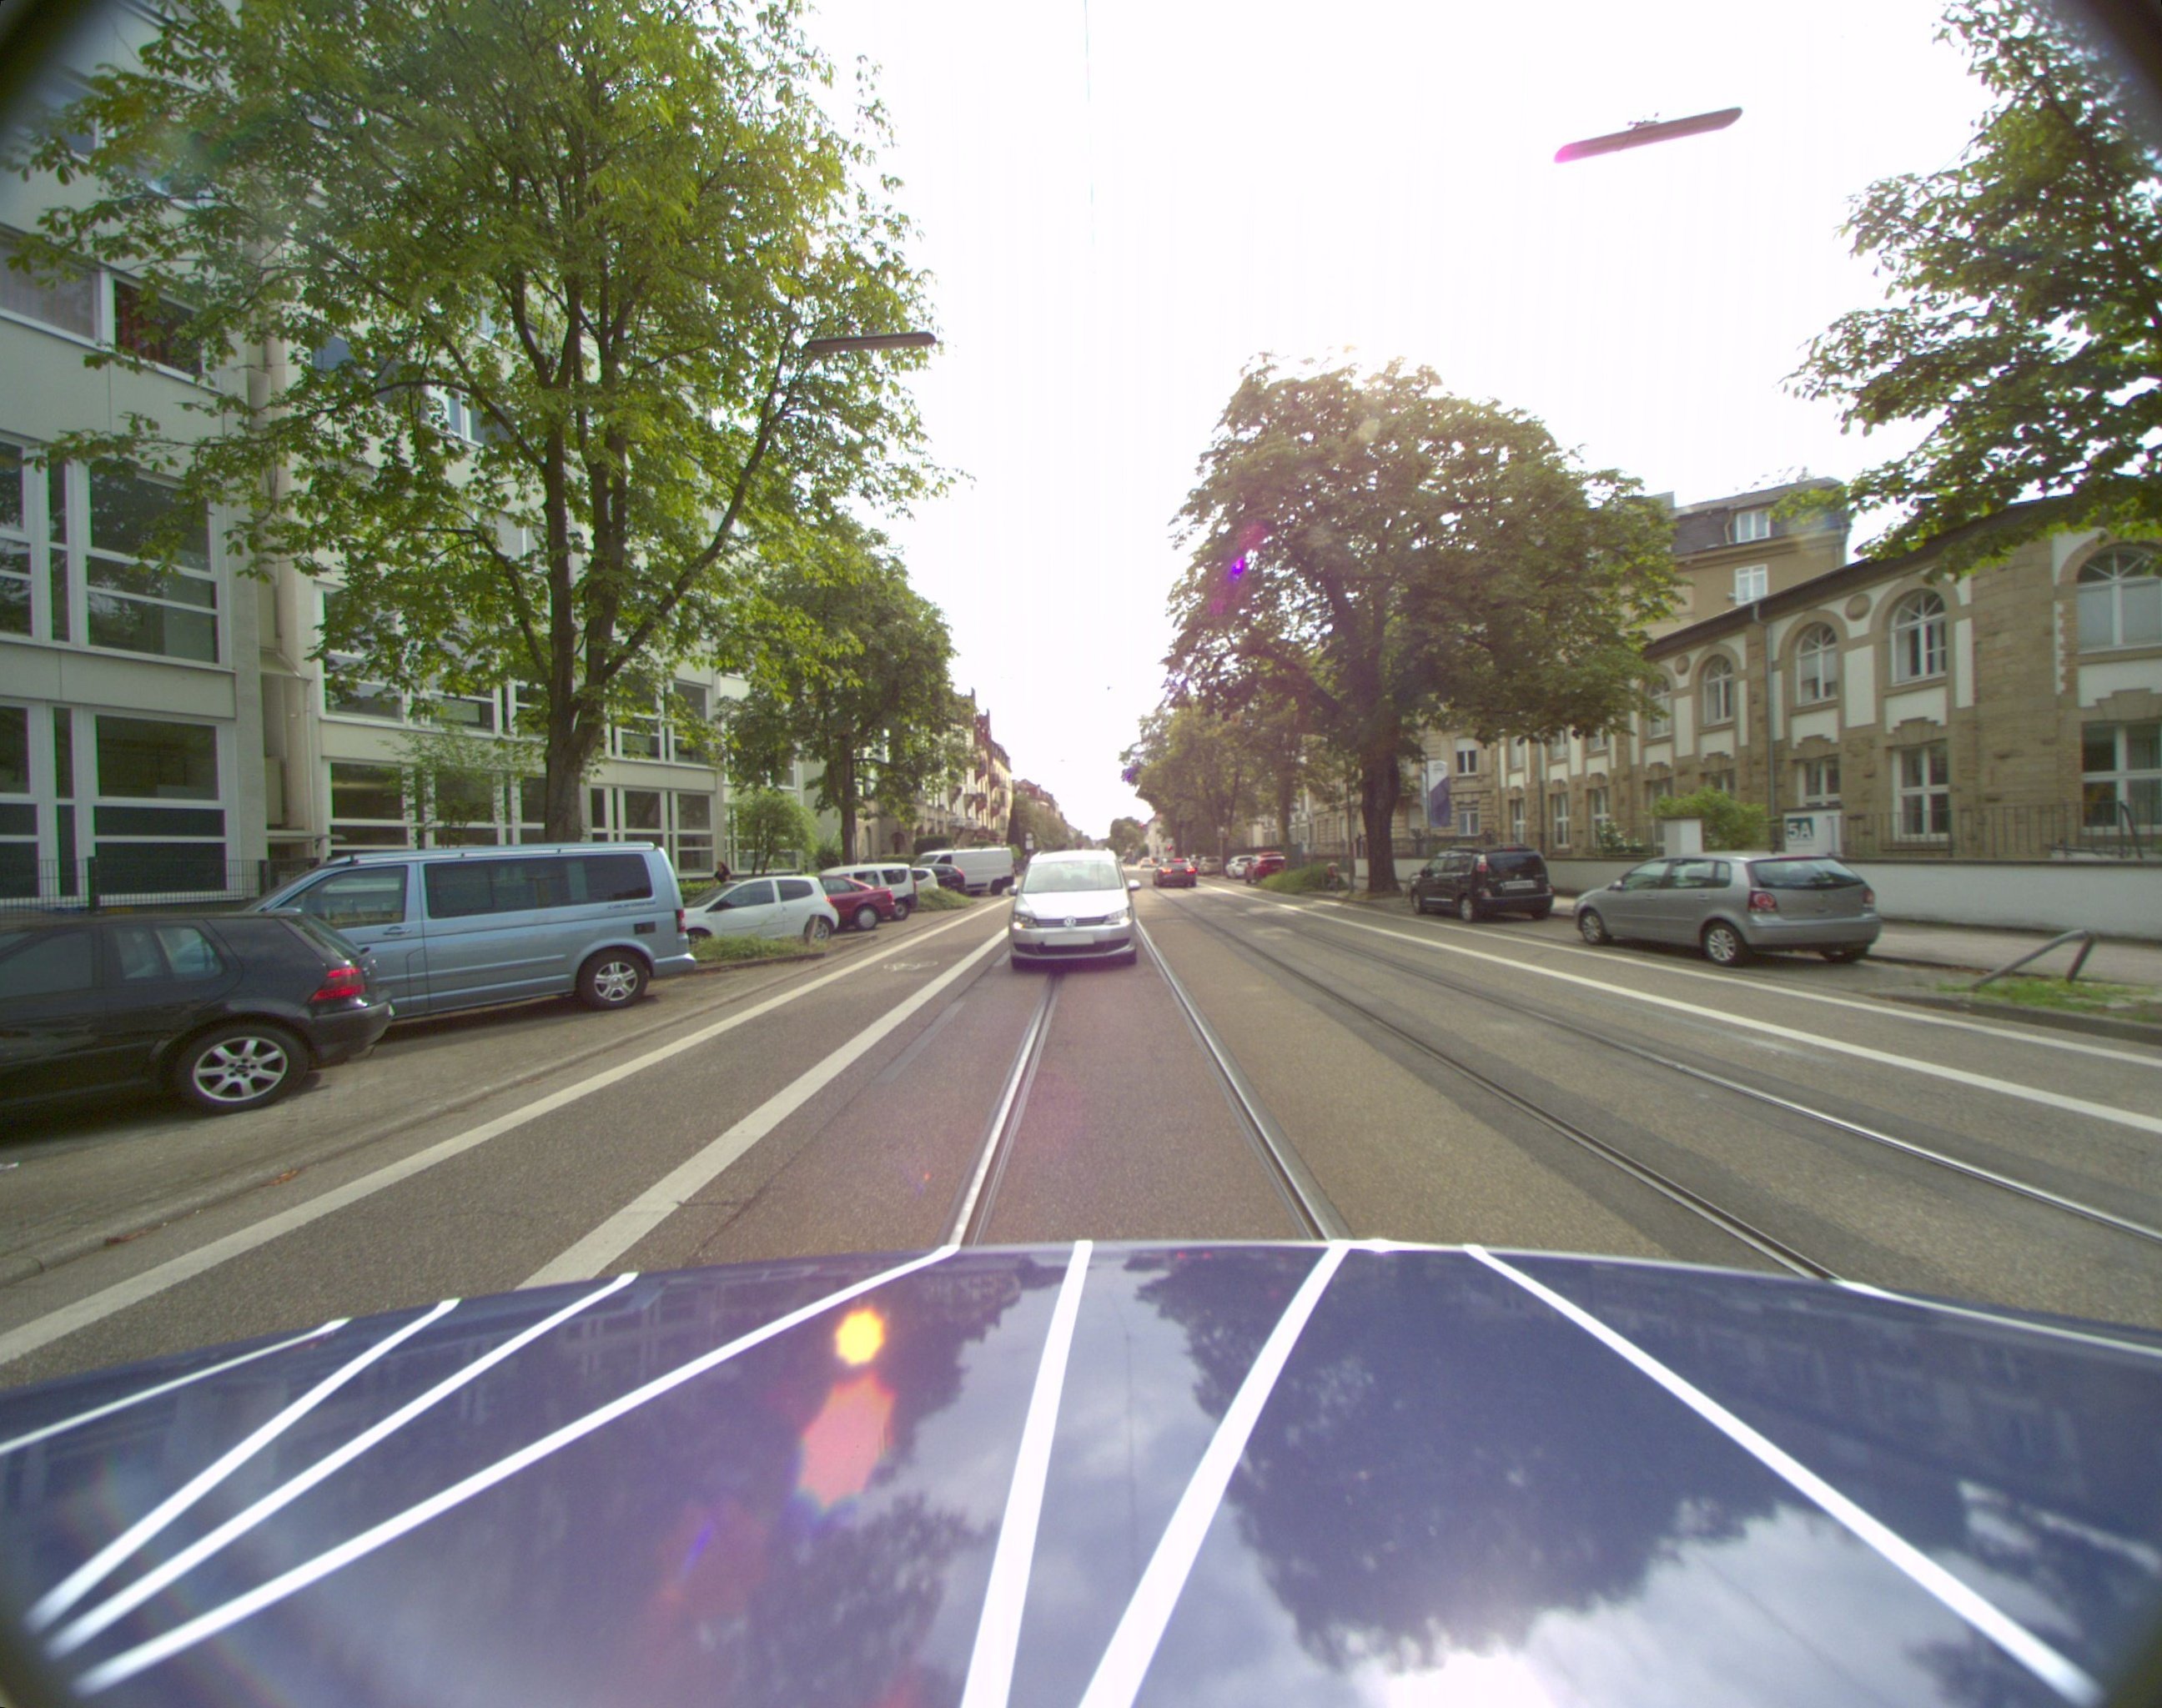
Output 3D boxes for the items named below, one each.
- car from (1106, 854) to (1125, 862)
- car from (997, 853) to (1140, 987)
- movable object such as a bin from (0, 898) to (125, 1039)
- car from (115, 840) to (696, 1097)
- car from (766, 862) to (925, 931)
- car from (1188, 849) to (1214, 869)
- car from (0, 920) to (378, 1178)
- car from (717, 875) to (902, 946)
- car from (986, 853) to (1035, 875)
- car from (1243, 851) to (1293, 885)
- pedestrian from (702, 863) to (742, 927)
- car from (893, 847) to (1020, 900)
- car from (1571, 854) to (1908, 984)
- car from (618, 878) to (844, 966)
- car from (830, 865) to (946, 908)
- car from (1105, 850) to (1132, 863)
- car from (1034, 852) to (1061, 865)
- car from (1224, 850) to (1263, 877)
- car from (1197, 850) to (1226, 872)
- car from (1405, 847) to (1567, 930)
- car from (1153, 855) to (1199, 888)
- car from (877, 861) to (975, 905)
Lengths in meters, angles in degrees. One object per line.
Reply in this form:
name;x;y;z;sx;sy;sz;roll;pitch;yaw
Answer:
car;7.869;0.906;175.155;3.993;1.797;2.002;-2;1;13
car;-0.134;0.869;12.268;1.816;1.691;4.617;-2;0;1
movable object such as a bin;-12.251;1.281;8.489;1.334;1.450;1.400;-2;0;5
car;-6.993;0.935;8.453;4.354;2.052;1.994;-2;0;-45
car;-6.549;1.113;21.309;3.777;1.609;1.809;-2;1;-40
car;10.446;0.426;66.554;1.659;1.624;3.906;-2;0;1
car;-7.410;1.320;5.007;3.980;1.379;1.810;-3;-1;-44
car;-6.512;1.284;18.391;3.777;1.331;1.809;-2;1;-40
car;-5.933;0.833;64.083;3.649;1.666;1.764;-2;1;-25
car;9.749;0.693;39.943;1.659;1.624;3.906;-2;0;1
pedestrian;-10.430;1.178;22.111;0.714;1.817;0.775;-2;1;1
car;-5.727;0.826;35.489;5.449;2.163;2.142;-2;1;-40
car;8.831;0.760;10.646;1.632;1.456;3.574;-2;0;1
car;-6.856;1.244;15.092;3.652;1.322;1.763;-3;1;-44
car;-6.978;1.143;27.677;3.652;1.322;1.763;-3;1;-44
car;6.024;0.434;122.801;3.993;2.002;2.002;-2;0;13
car;-5.576;0.827;126.890;3.991;2.002;2.003;-2;0;23
car;10.384;0.586;48.702;1.659;1.592;3.906;-2;0;1
car;10.136;0.519;59.244;1.659;1.624;3.906;-2;0;1
car;8.978;0.690;17.210;1.659;1.624;3.725;-2;0;1
car;4.739;0.825;38.352;1.786;1.506;4.144;-2;0;1
car;-6.485;1.173;31.809;3.649;1.580;1.764;-2;1;-25
